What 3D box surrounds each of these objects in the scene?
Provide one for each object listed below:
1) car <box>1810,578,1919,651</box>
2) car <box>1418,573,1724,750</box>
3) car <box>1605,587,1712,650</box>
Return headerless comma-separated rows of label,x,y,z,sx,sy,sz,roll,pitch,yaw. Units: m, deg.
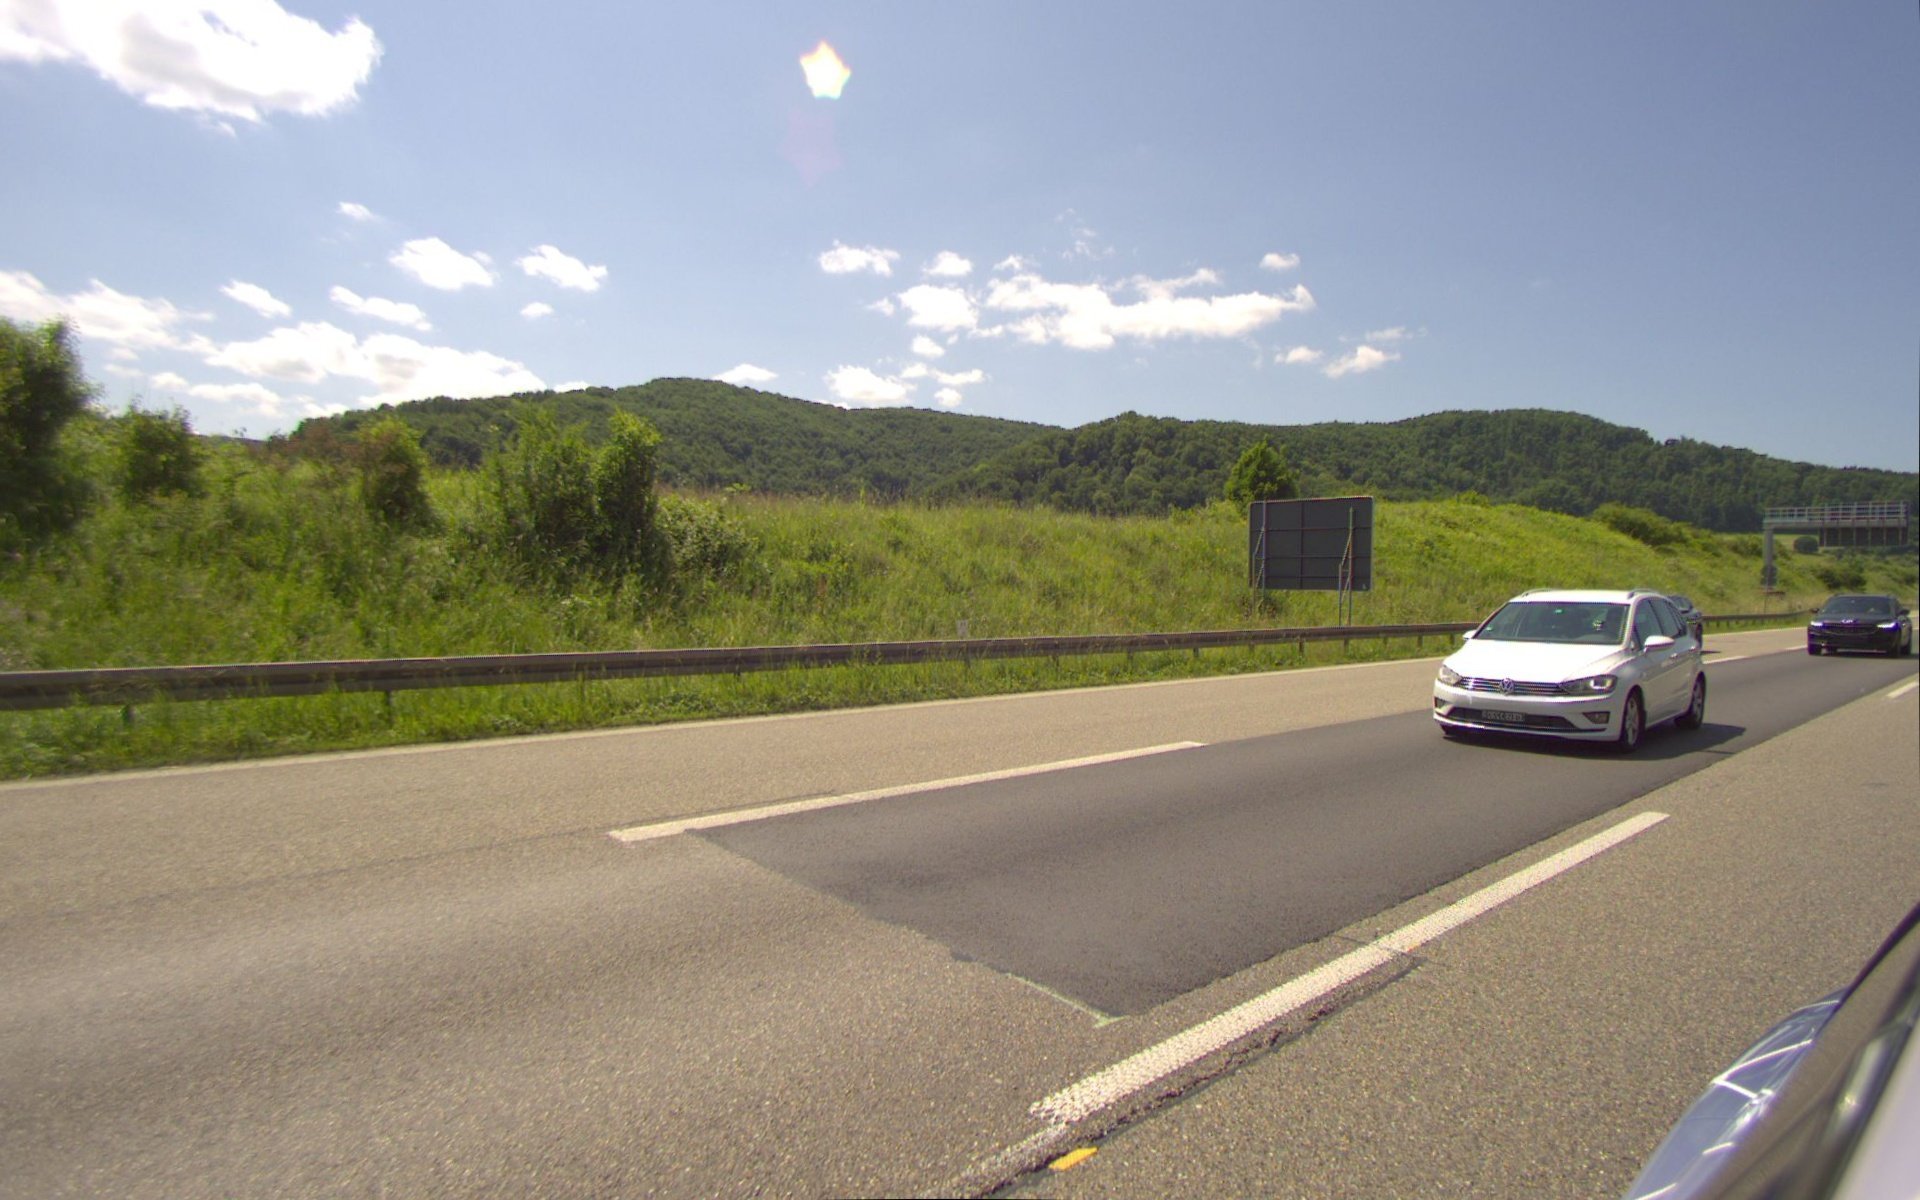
car,24.564,0.335,27.252,4.097,1.794,1.893,0,1,-40
car,6.687,0.519,10.907,3.985,1.560,1.775,0,1,-42
car,19.264,0.447,27.841,4.179,1.615,1.680,0,1,-45
